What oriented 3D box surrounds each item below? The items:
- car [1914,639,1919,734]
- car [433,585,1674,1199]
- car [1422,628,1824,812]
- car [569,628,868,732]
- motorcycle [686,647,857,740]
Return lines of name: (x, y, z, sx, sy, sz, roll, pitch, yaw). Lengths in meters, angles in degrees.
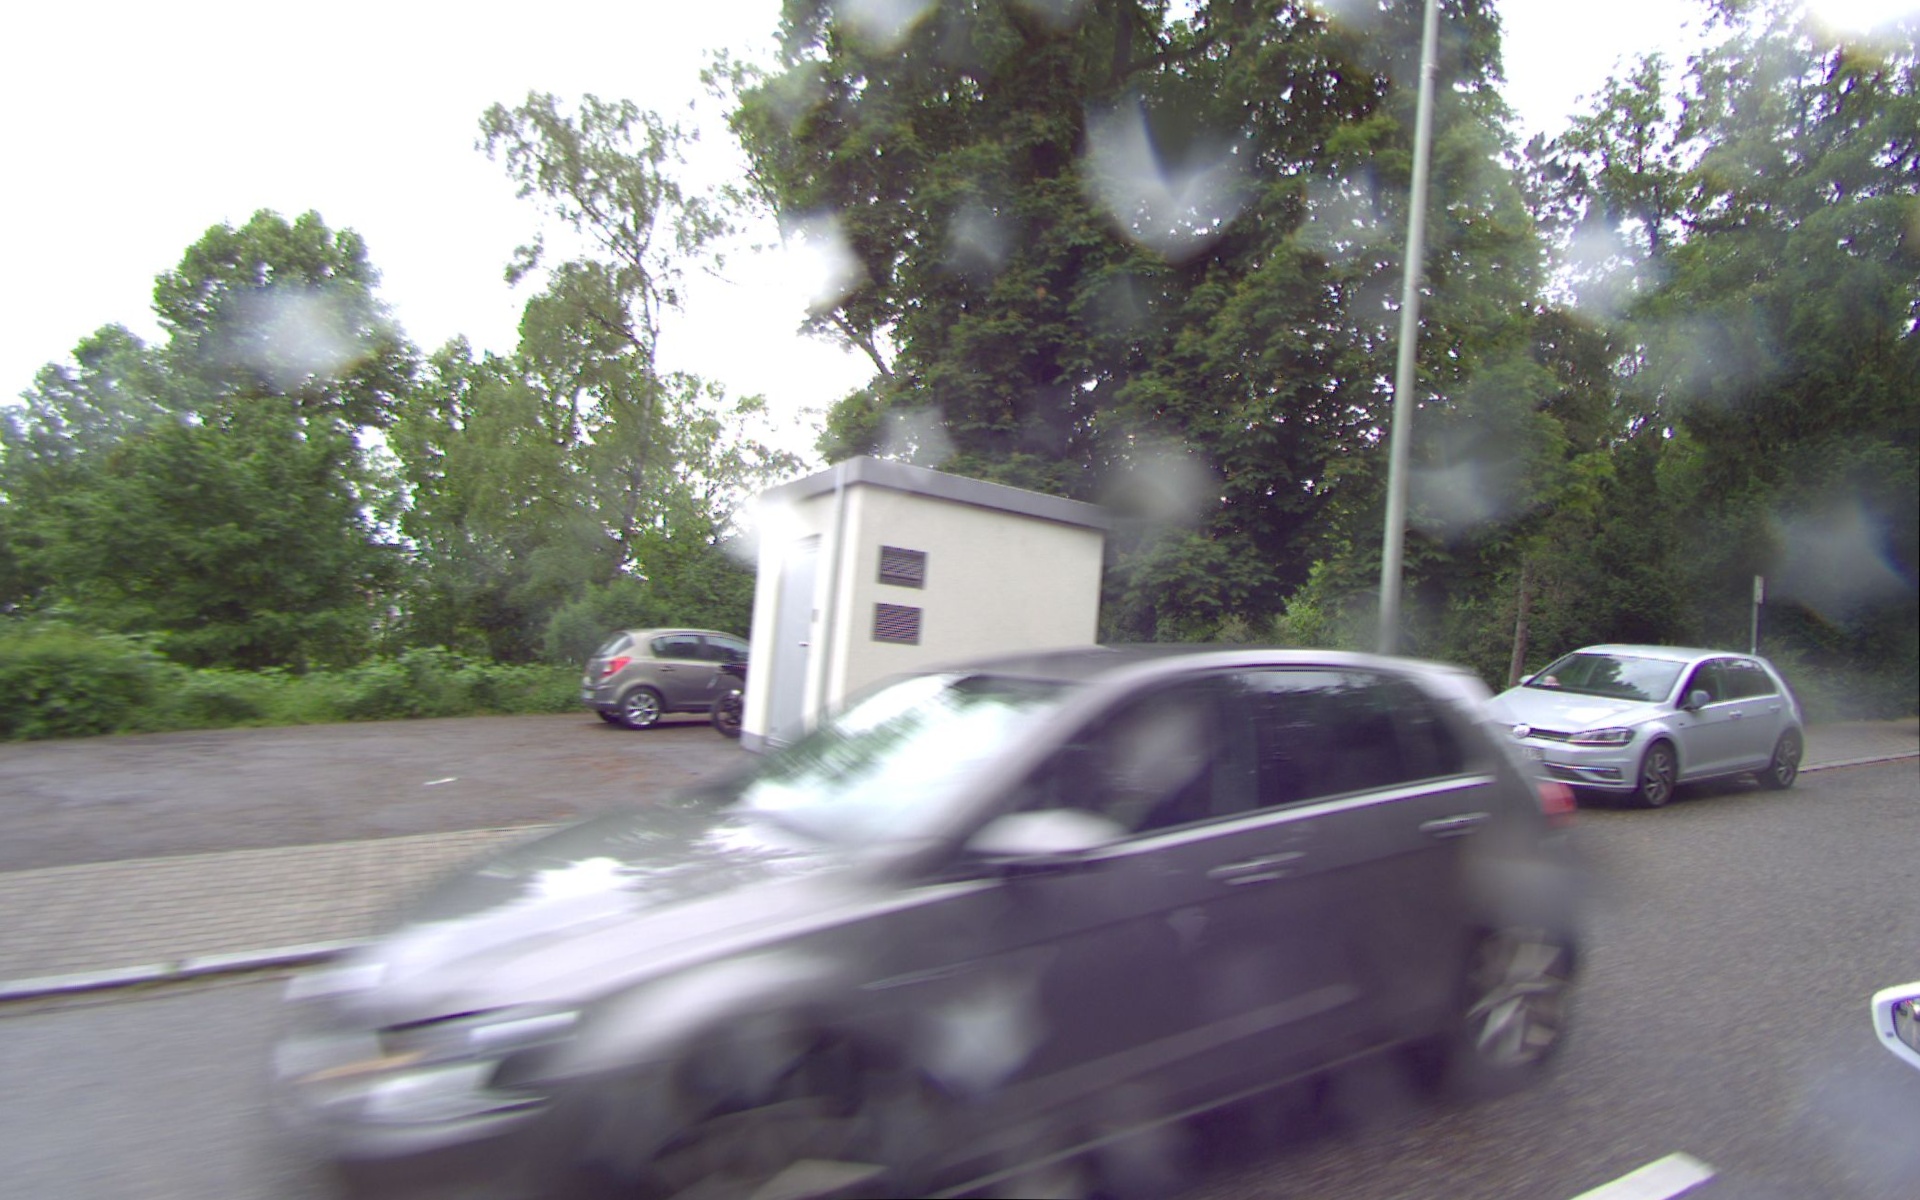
car: (17.333, 1.441, 16.394, 3.885, 1.519, 1.617, 2, 1, -32)
car: (0.476, 0.813, 3.439, 3.954, 1.510, 1.752, 2, -3, -31)
car: (7.155, 1.168, 10.794, 4.188, 1.632, 1.878, 2, -4, -29)
car: (-3.873, 1.226, 16.331, 4.349, 1.478, 1.934, 2, -2, -33)
motorcycle: (-2.597, 1.257, 13.922, 2.248, 1.204, 0.598, 1, -2, -27)
